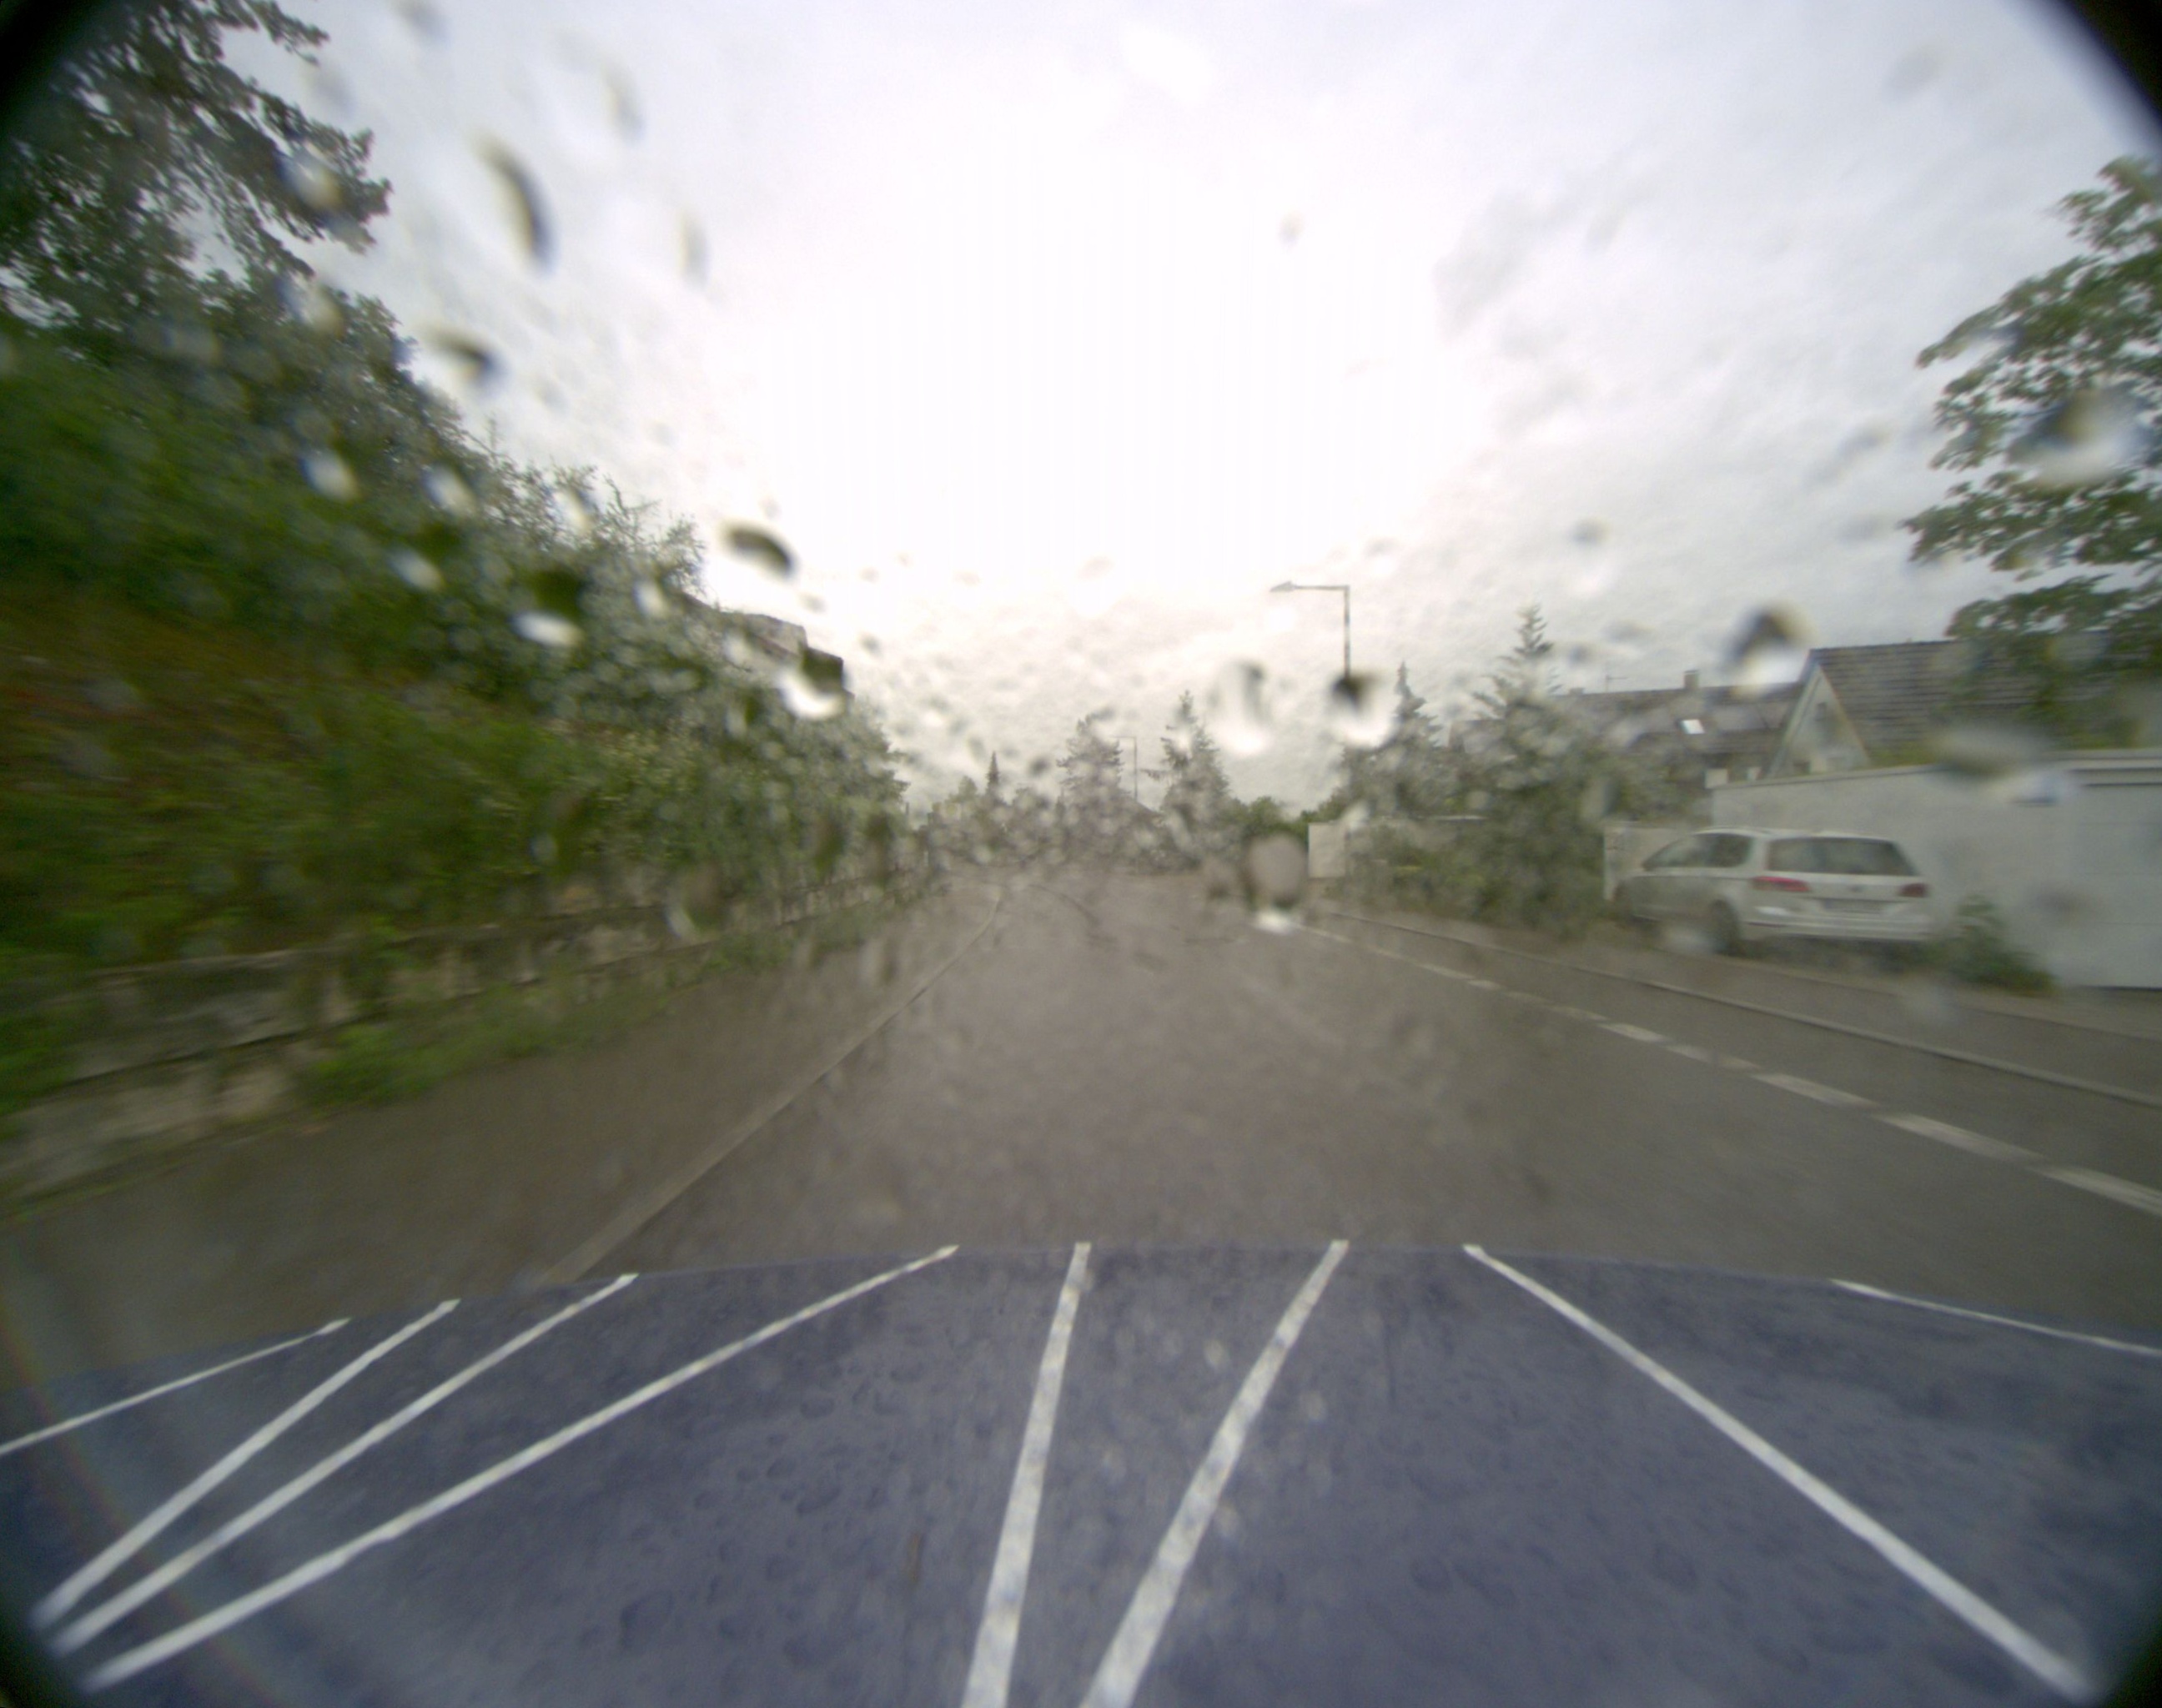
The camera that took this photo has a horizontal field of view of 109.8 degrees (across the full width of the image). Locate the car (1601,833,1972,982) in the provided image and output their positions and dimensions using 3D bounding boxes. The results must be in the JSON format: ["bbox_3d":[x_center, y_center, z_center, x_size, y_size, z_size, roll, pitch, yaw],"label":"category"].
[{"bbox_3d":[8.879,0.542,10.169,1.707,1.544,4.393,-2,1,14],"label":"car"}]

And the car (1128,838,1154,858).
[{"bbox_3d":[5.046,-0.541,64.365,1.998,1.565,4.000,-1,1,2],"label":"car"}]

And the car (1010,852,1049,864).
[{"bbox_3d":[-5.842,0.447,85.958,4.002,1.264,1.871,-2,1,-16],"label":"car"}]

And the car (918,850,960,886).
[{"bbox_3d":[-6.351,0.587,33.996,1.711,1.445,4.016,1,0,-11],"label":"car"}]

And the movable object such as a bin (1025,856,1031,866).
[{"bbox_3d":[-5.359,0.677,76.709,0.372,0.982,0.557,-2,1,-22],"label":"movable object such as a bin"}]
